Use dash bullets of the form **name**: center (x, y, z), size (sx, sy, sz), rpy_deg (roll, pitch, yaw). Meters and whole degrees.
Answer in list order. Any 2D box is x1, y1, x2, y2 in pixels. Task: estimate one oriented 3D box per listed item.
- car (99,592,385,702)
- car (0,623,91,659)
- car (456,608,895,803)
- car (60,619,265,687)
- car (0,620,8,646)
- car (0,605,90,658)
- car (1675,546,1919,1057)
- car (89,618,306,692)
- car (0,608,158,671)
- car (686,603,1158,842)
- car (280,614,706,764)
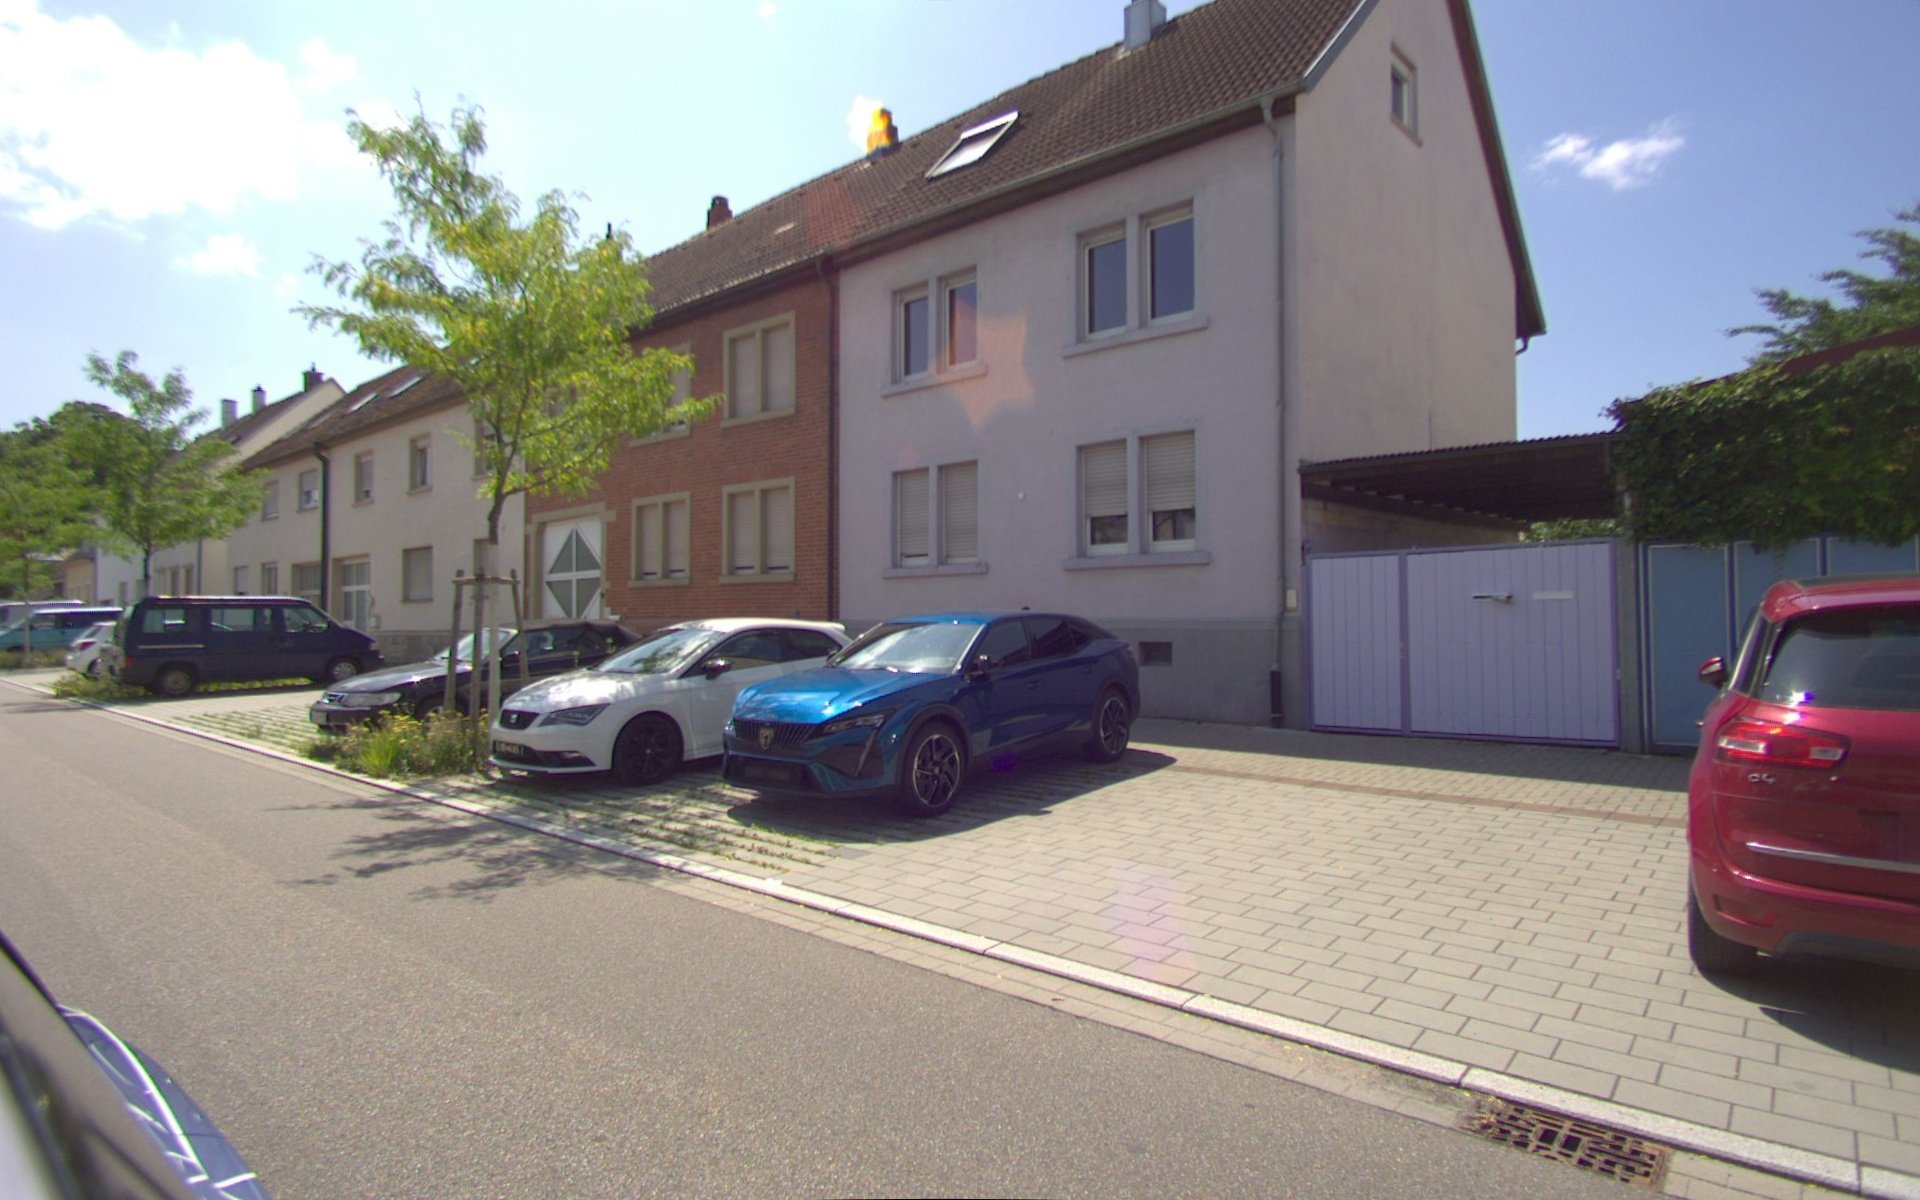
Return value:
- **car**: center (-14.844, 0.876, 21.122), size (1.953, 2.011, 4.563), rpy_deg (-1, 0, 42)
- **car**: center (-40.060, 1.753, 43.609), size (1.725, 1.396, 3.744), rpy_deg (-1, 1, 41)
- **car**: center (-2.656, 0.876, 10.254), size (1.773, 1.489, 4.015), rpy_deg (-1, 0, 38)
- **car**: center (-20.264, 1.292, 25.820), size (1.772, 1.500, 3.874), rpy_deg (-1, 0, 42)
- **car**: center (-59.647, 2.039, 59.938), size (1.900, 1.528, 4.540), rpy_deg (-1, 0, 40)
- **car**: center (-43.038, 1.441, 45.866), size (2.155, 2.305, 5.116), rpy_deg (-1, 0, 38)
- **car**: center (4.622, 0.611, 4.641), size (1.841, 1.623, 4.210), rpy_deg (-1, 0, 40)
- **car**: center (-18.032, 1.235, 24.055), size (1.772, 1.500, 3.874), rpy_deg (-1, 0, 42)
- **car**: center (-30.773, 1.315, 34.873), size (1.999, 1.921, 4.628), rpy_deg (-1, 1, 41)
- **car**: center (-0.052, 0.811, 8.843), size (1.773, 1.489, 4.363), rpy_deg (-1, 0, 37)
- **car**: center (-5.586, 0.945, 12.612), size (1.794, 1.436, 4.478), rpy_deg (-1, 0, 40)
